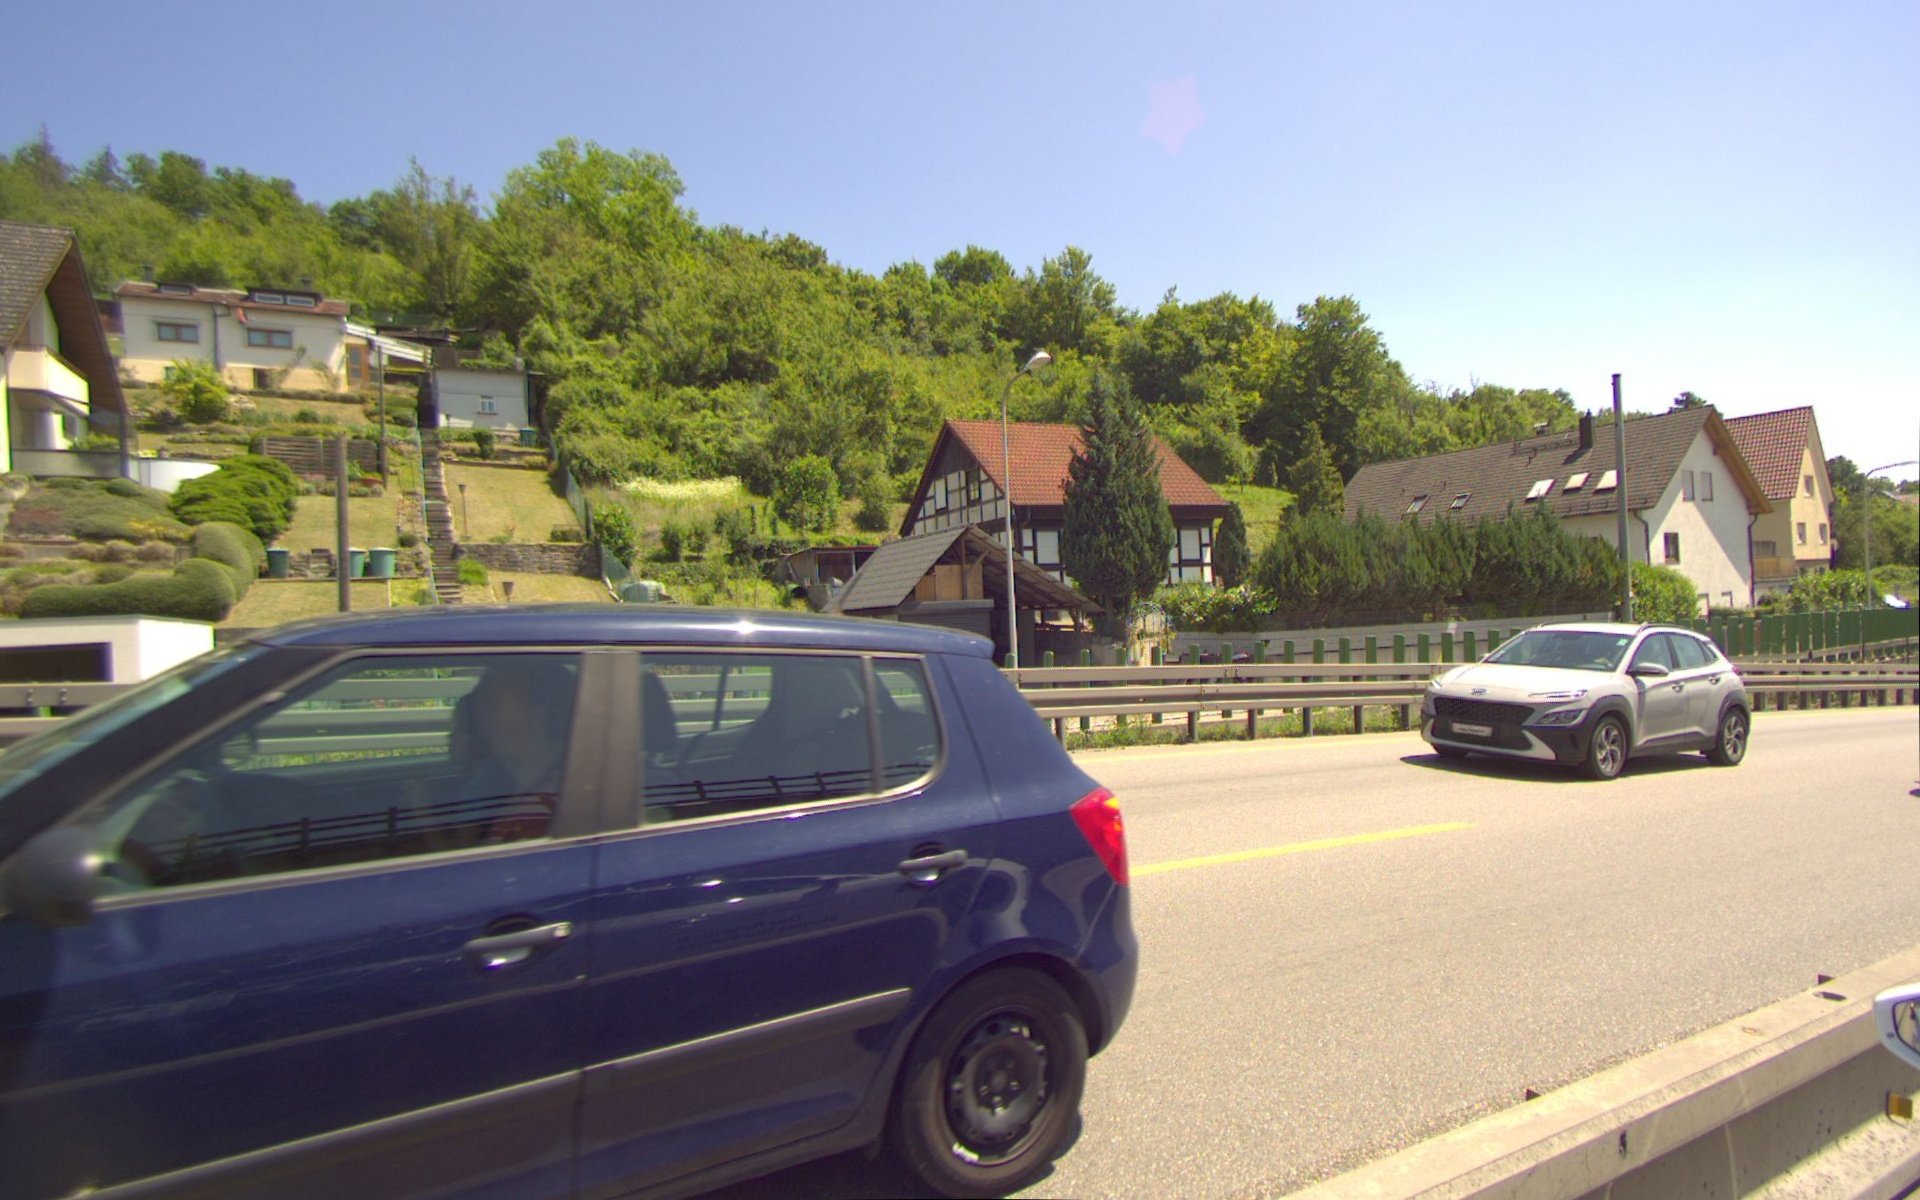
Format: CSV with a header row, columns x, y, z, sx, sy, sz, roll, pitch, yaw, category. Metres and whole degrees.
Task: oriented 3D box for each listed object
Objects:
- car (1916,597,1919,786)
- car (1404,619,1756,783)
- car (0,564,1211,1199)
x,y,z,sx,sy,sz,roll,pitch,yaw,category
11.198,0.888,9.713,4.208,1.764,1.800,1,-1,-31,car
6.863,0.994,11.035,3.929,1.499,1.693,1,-1,-31,car
-1.479,0.705,2.398,4.165,1.481,1.563,1,-1,-31,car
